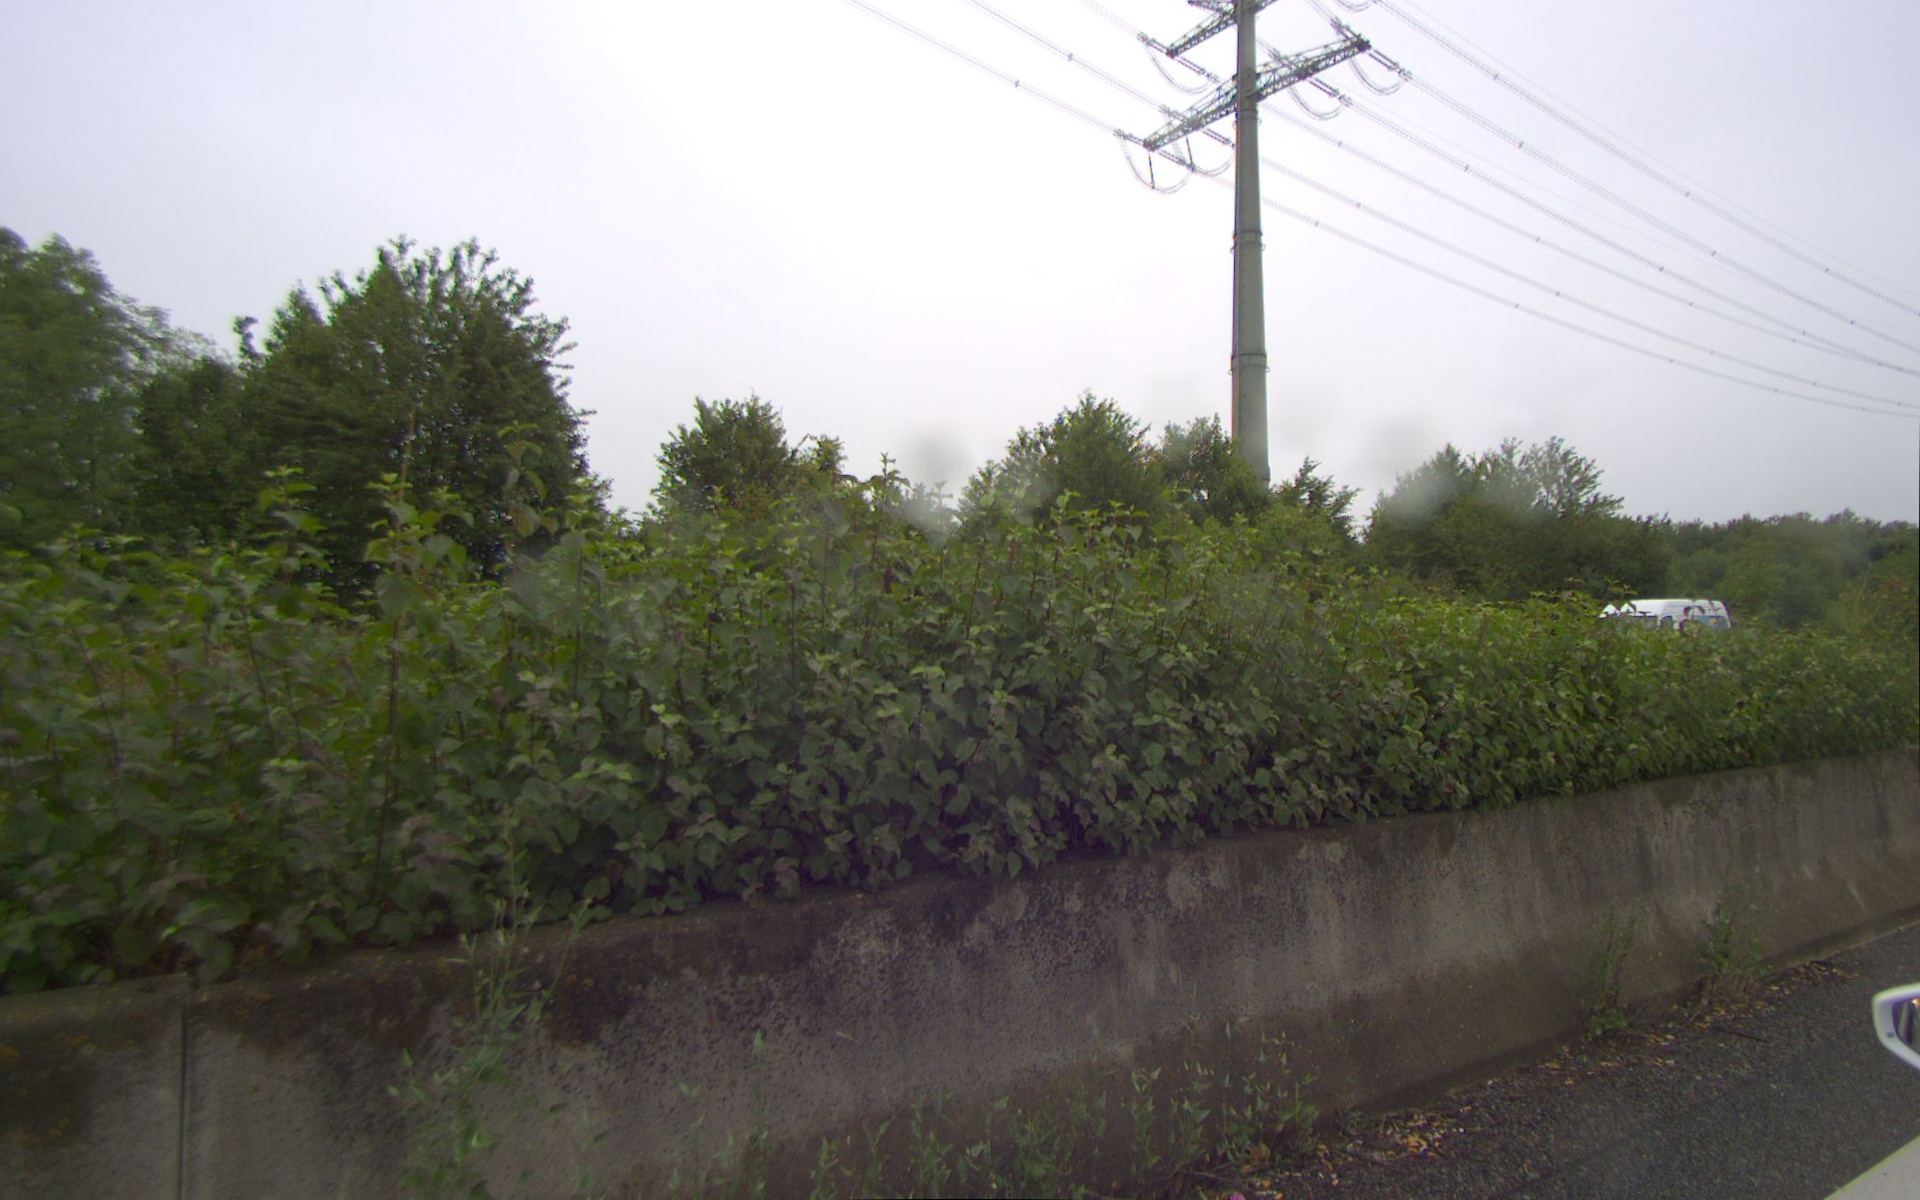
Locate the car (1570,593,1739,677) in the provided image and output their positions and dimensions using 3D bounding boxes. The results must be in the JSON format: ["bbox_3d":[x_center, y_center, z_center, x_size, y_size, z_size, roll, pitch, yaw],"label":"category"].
[{"bbox_3d":[20.611,1.009,29.764,5.142,2.295,2.170,1,-1,-30],"label":"car"}]
